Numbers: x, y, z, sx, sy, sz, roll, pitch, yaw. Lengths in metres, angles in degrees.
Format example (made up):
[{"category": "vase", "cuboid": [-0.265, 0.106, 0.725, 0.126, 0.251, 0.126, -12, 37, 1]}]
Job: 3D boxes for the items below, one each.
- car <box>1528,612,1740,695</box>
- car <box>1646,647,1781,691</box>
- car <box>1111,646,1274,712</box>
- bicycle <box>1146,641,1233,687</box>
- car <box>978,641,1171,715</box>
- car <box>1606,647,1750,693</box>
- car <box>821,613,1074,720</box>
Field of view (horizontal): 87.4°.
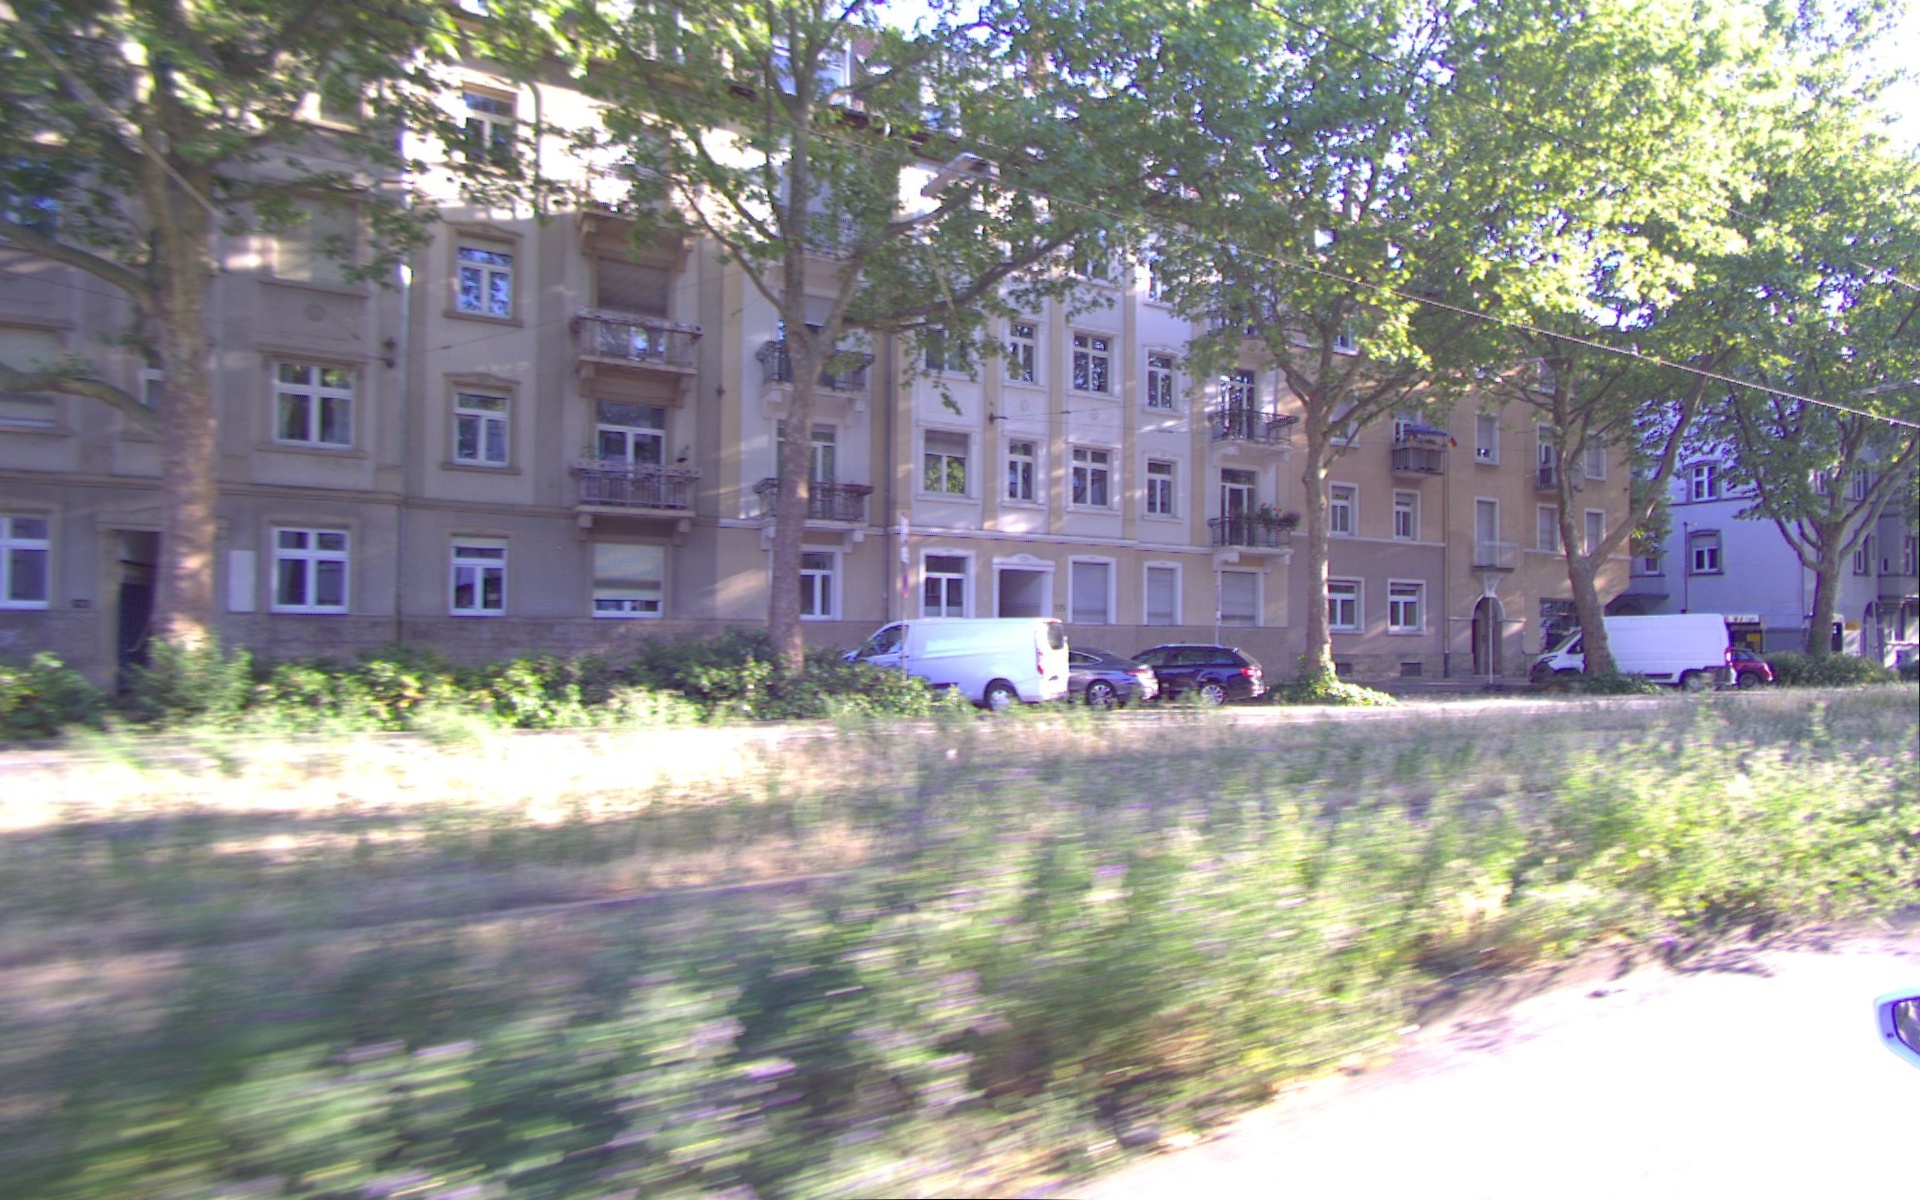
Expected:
[{"category": "car", "cuboid": [21.880, 1.690, 32.934, 5.401, 2.562, 2.126, 0, -2, 21]}, {"category": "car", "cuboid": [26.742, 2.420, 35.808, 3.645, 1.485, 1.732, -2, -3, 32]}, {"category": "car", "cuboid": [5.653, 1.866, 24.400, 3.656, 1.440, 1.722, 0, -2, 21]}, {"category": "bicycle", "cuboid": [7.282, 2.015, 31.824, 2.922, 1.409, 0.739, 1, -2, -27]}, {"category": "car", "cuboid": [2.623, 1.722, 22.932, 4.095, 1.510, 1.722, 0, -2, 21]}, {"category": "car", "cuboid": [24.388, 2.361, 34.272, 3.637, 1.418, 1.736, 0, -2, 21]}, {"category": "car", "cuboid": [-0.279, 1.362, 21.568, 5.144, 2.093, 1.722, 0, -2, 21]}]
